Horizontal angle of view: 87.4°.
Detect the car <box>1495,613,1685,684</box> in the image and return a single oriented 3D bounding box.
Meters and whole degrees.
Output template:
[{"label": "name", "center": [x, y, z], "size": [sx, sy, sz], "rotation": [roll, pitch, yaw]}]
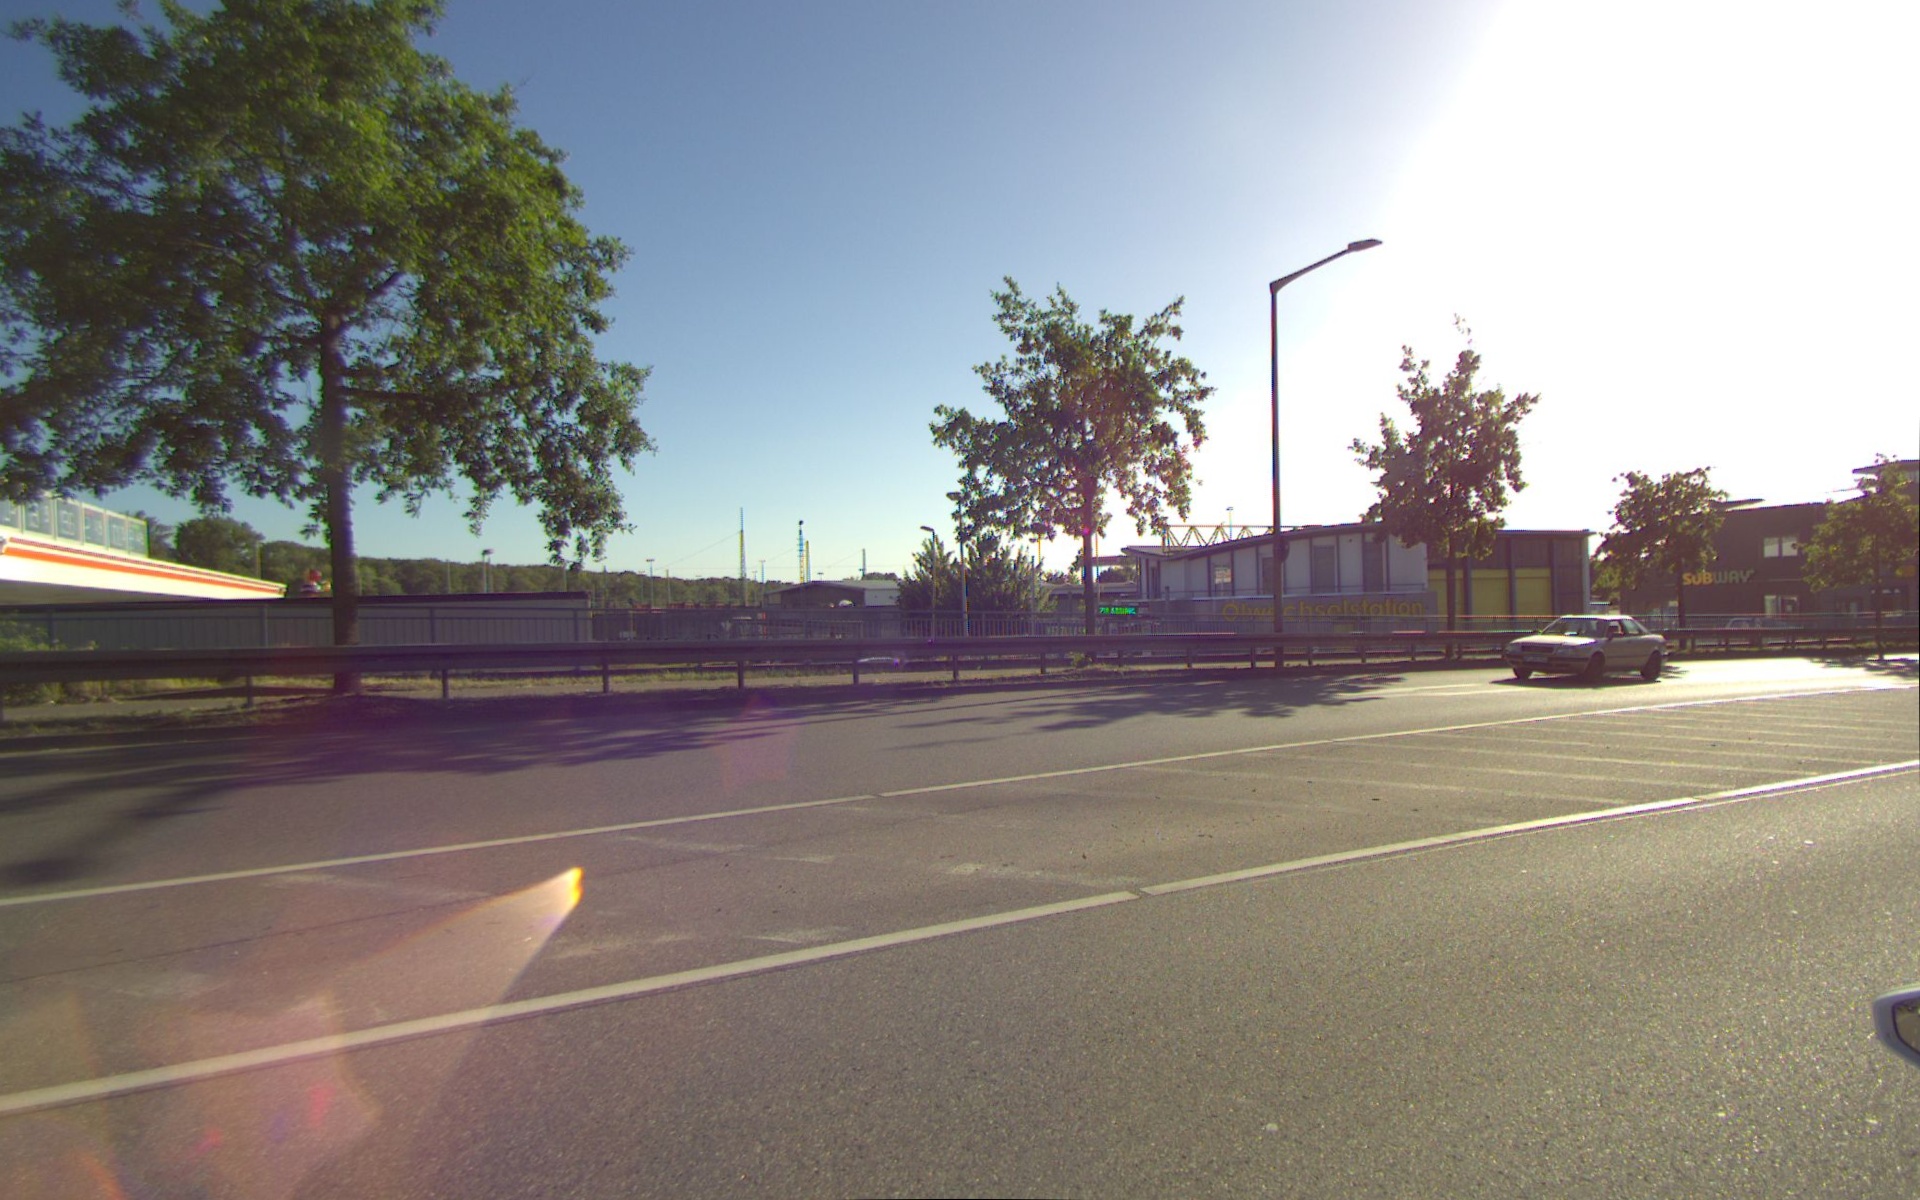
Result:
[{"label": "car", "center": [14.082, 1.030, 22.390], "size": [4.443, 1.404, 1.721], "rotation": [1, 0, -30]}]
